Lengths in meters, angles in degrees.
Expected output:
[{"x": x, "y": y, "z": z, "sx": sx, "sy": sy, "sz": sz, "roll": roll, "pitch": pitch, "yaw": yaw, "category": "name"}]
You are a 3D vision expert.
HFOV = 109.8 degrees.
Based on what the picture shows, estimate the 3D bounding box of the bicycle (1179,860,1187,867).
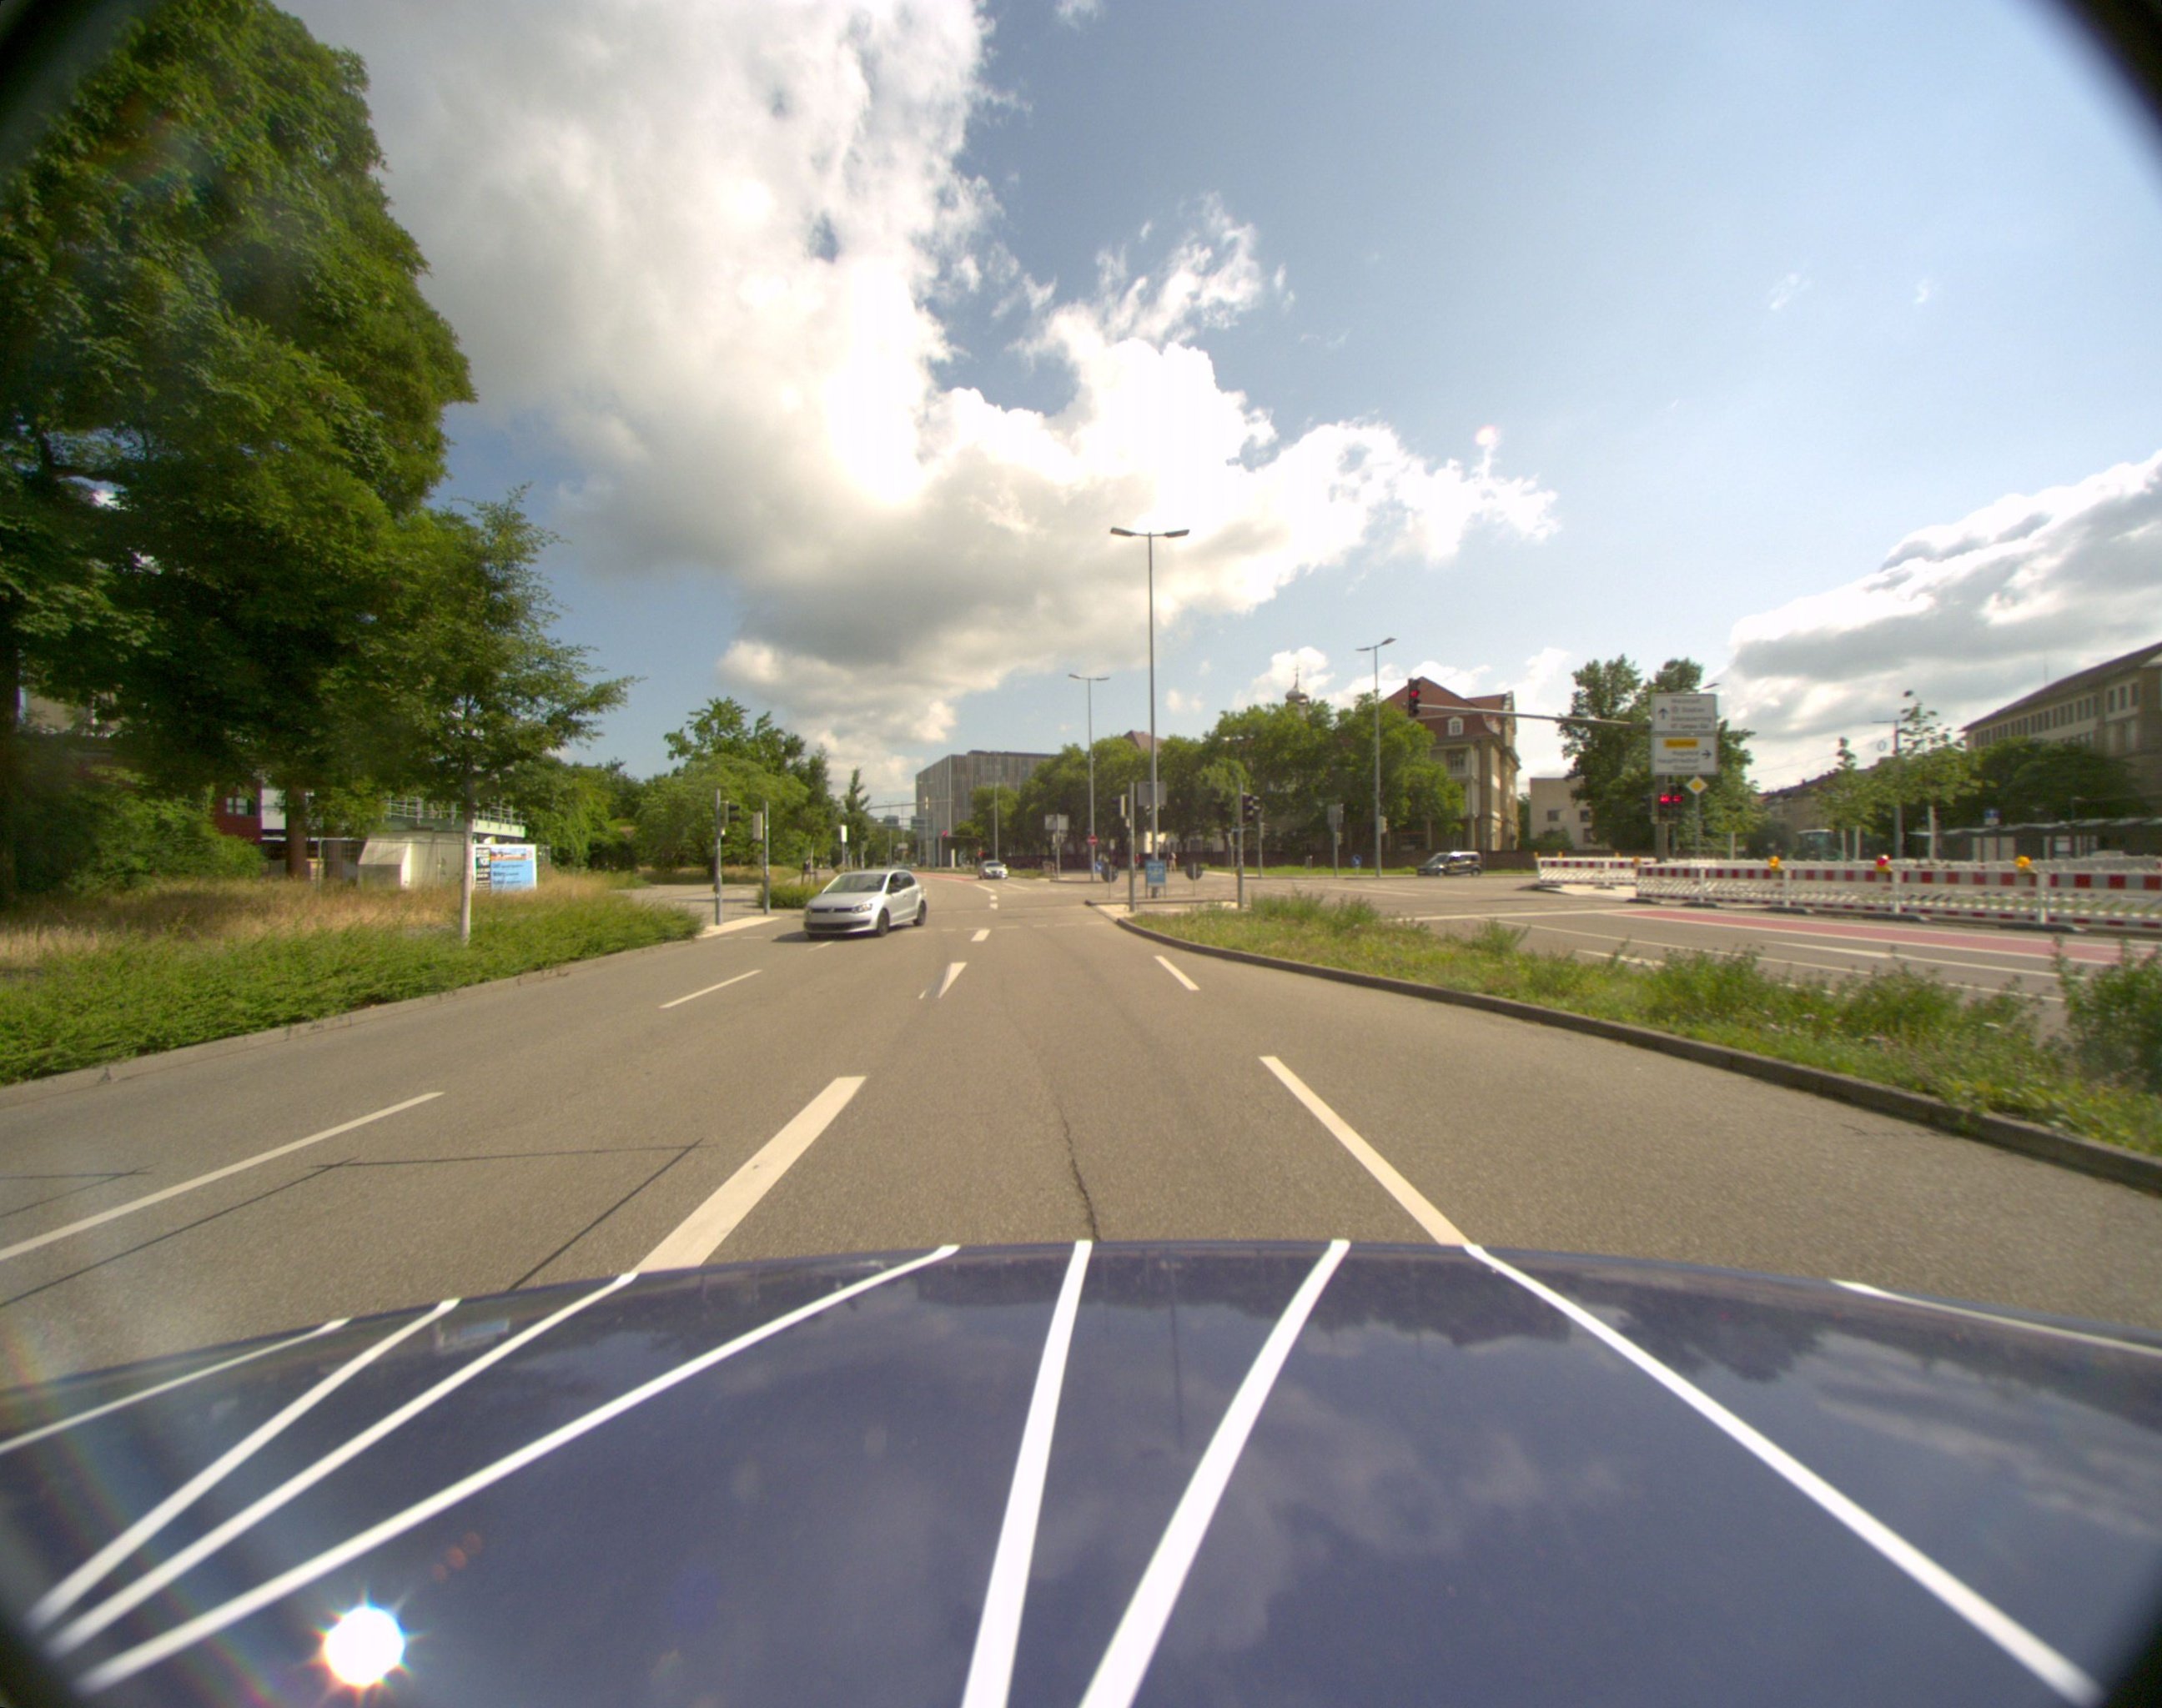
[{"x": 12.836, "y": 1.228, "z": 95.741, "sx": 0.975, "sy": 0.843, "sz": 0.481, "roll": 0, "pitch": 0, "yaw": -43, "category": "bicycle"}]

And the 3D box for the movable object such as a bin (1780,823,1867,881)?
[{"x": 39.951, "y": -0.116, "z": 41.026, "sx": 1.995, "sy": 2.932, "sz": 4.459, "roll": 0, "pitch": 0, "yaw": 25, "category": "movable object such as a bin"}]

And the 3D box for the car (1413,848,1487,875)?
[{"x": 25.504, "y": 0.525, "z": 52.585, "sx": 4.676, "sy": 1.774, "sz": 1.852, "roll": 0, "pitch": -1, "yaw": -20, "category": "car"}]

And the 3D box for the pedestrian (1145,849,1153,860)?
[{"x": 8.891, "y": 0.064, "z": 99.220, "sx": 0.727, "sy": 1.525, "sz": 0.722, "roll": -1, "pitch": 1, "yaw": -35, "category": "pedestrian"}]

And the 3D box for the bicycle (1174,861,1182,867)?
[{"x": 12.298, "y": 1.257, "z": 96.245, "sx": 0.975, "sy": 0.843, "sz": 0.481, "roll": 0, "pitch": 0, "yaw": -43, "category": "bicycle"}]

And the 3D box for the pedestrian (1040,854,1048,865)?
[{"x": -5.650, "y": 0.867, "z": 116.881, "sx": 0.768, "sy": 1.769, "sz": 0.889, "roll": 0, "pitch": 1, "yaw": 42, "category": "pedestrian"}]

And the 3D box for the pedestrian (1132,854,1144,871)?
[{"x": 5.844, "y": 0.852, "z": 77.597, "sx": 0.751, "sy": 1.770, "sz": 0.963, "roll": -1, "pitch": 1, "yaw": -30, "category": "pedestrian"}]

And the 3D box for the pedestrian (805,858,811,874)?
[{"x": -28.272, "y": 1.238, "z": 78.645, "sx": 0.543, "sy": 1.597, "sz": 0.523, "roll": 0, "pitch": -2, "yaw": -25, "category": "pedestrian"}]

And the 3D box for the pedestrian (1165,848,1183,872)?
[{"x": 7.221, "y": 0.497, "z": 59.242, "sx": 1.183, "sy": 1.846, "sz": 0.697, "roll": -1, "pitch": -1, "yaw": -32, "category": "pedestrian"}]

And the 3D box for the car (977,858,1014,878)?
[{"x": -6.882, "y": 1.082, "z": 60.939, "sx": 2.063, "sy": 1.434, "sz": 4.773, "roll": -3, "pitch": 1, "yaw": -17, "category": "car"}]

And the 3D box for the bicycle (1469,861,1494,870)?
[{"x": 39.618, "y": 1.135, "z": 75.164, "sx": 2.056, "sy": 0.856, "sz": 0.860, "roll": 0, "pitch": 2, "yaw": 22, "category": "bicycle"}]

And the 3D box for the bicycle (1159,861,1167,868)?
[{"x": 10.629, "y": 1.361, "z": 98.029, "sx": 0.975, "sy": 0.843, "sz": 0.481, "roll": 0, "pitch": 0, "yaw": -43, "category": "bicycle"}]

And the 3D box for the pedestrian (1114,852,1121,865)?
[{"x": 4.955, "y": 0.580, "z": 102.926, "sx": 0.665, "sy": 1.713, "sz": 0.740, "roll": 0, "pitch": 1, "yaw": -41, "category": "pedestrian"}]

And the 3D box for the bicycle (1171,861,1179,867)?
[{"x": 11.954, "y": 1.282, "z": 96.694, "sx": 0.975, "sy": 0.843, "sz": 0.481, "roll": 0, "pitch": 0, "yaw": -43, "category": "bicycle"}]

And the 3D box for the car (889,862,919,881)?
[{"x": -13.744, "y": 1.345, "z": 58.858, "sx": 2.001, "sy": 1.369, "sz": 4.154, "roll": 0, "pitch": 0, "yaw": -17, "category": "car"}]

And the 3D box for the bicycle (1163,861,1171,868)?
[{"x": 11.022, "y": 1.339, "z": 97.639, "sx": 0.975, "sy": 0.843, "sz": 0.481, "roll": 0, "pitch": 0, "yaw": -43, "category": "bicycle"}]

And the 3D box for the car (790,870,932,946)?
[{"x": -4.786, "y": 1.115, "z": 17.153, "sx": 1.654, "sy": 1.433, "sz": 4.007, "roll": -1, "pitch": 0, "yaw": 7, "category": "car"}]
